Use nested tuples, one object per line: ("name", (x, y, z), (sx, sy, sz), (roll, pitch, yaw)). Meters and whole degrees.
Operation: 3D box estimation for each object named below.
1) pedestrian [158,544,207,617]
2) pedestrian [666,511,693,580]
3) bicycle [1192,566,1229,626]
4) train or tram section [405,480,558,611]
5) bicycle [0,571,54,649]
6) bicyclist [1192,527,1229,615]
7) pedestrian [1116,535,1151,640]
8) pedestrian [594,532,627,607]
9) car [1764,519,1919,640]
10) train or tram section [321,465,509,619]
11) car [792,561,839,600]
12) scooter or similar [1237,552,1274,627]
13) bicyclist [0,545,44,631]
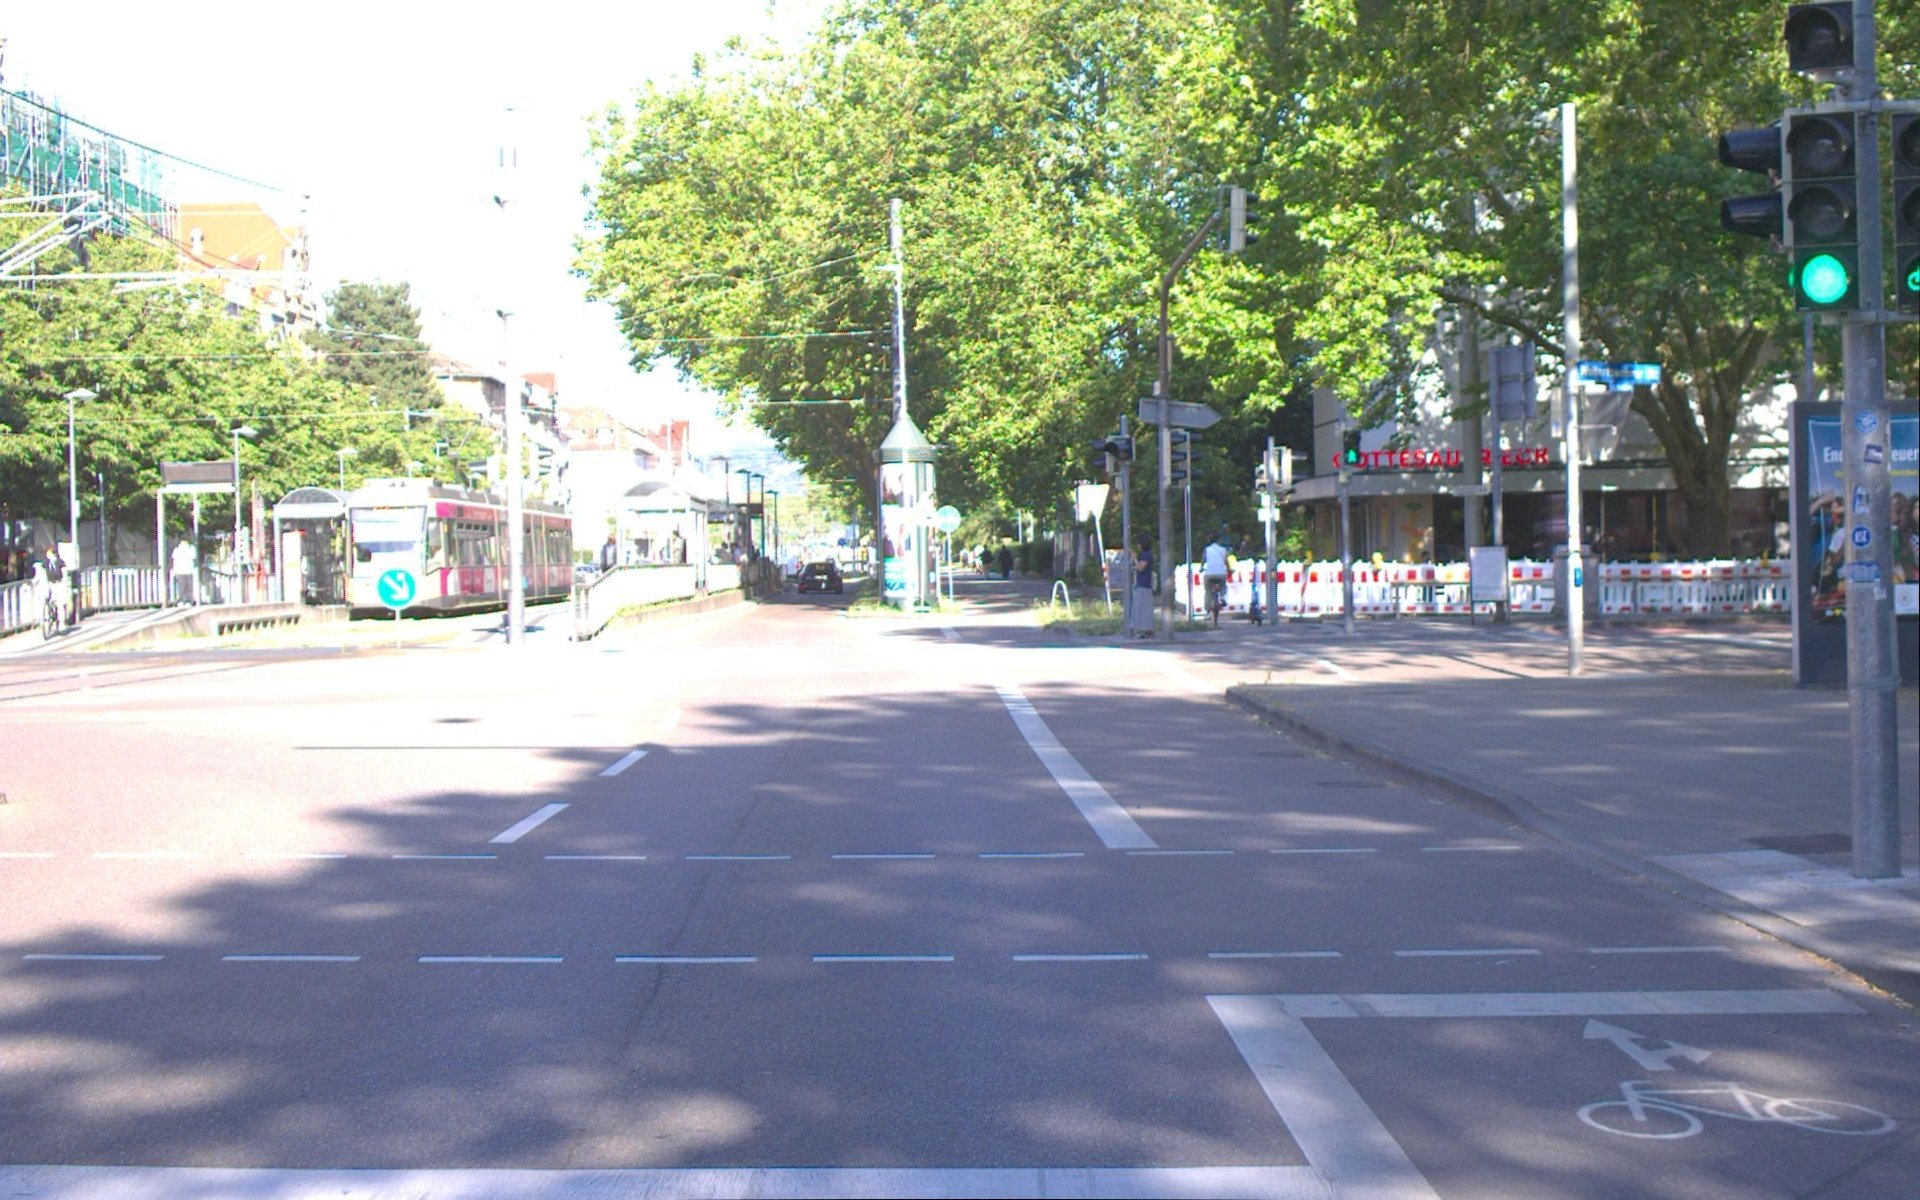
("pedestrian", (-17.091, -0.436, 75.558), (0.899, 1.575, 0.958), (1, 0, -4))
("pedestrian", (-7.729, -1.494, 94.759), (0.669, 1.896, 0.824), (1, 0, -2))
("bicycle", (4.457, -0.079, 61.150), (0.603, 1.023, 1.766), (-1, 1, 5))
("train or tram section", (-14.457, -1.618, 105.013), (2.869, 3.673, 14.561), (-1, 1, -1))
("bicycle", (-17.064, 0.175, 62.138), (0.533, 1.049, 1.825), (0, 11, 10))
("bicyclist", (4.461, -0.510, 61.220), (0.603, 1.545, 0.860), (-1, 0, 5))
("pedestrian", (2.728, -0.202, 53.979), (0.427, 1.633, 0.613), (0, 1, -9))
("pedestrian", (-7.558, -0.658, 74.380), (0.629, 1.604, 0.982), (1, 0, -3))
("car", (13.828, -0.273, 48.459), (4.564, 1.634, 1.936), (1, 1, -23))
("train or tram section", (-14.137, -1.486, 90.450), (2.869, 3.663, 14.561), (-1, 1, -1))
("car", (-6.349, -0.881, 151.326), (1.993, 1.678, 4.000), (1, 1, -1))
("scooter or similar", (5.114, -0.186, 59.482), (0.560, 1.253, 1.289), (-2, 0, 7))
("bicyclist", (-17.066, -0.220, 62.109), (0.533, 1.366, 1.019), (0, 11, 10))
